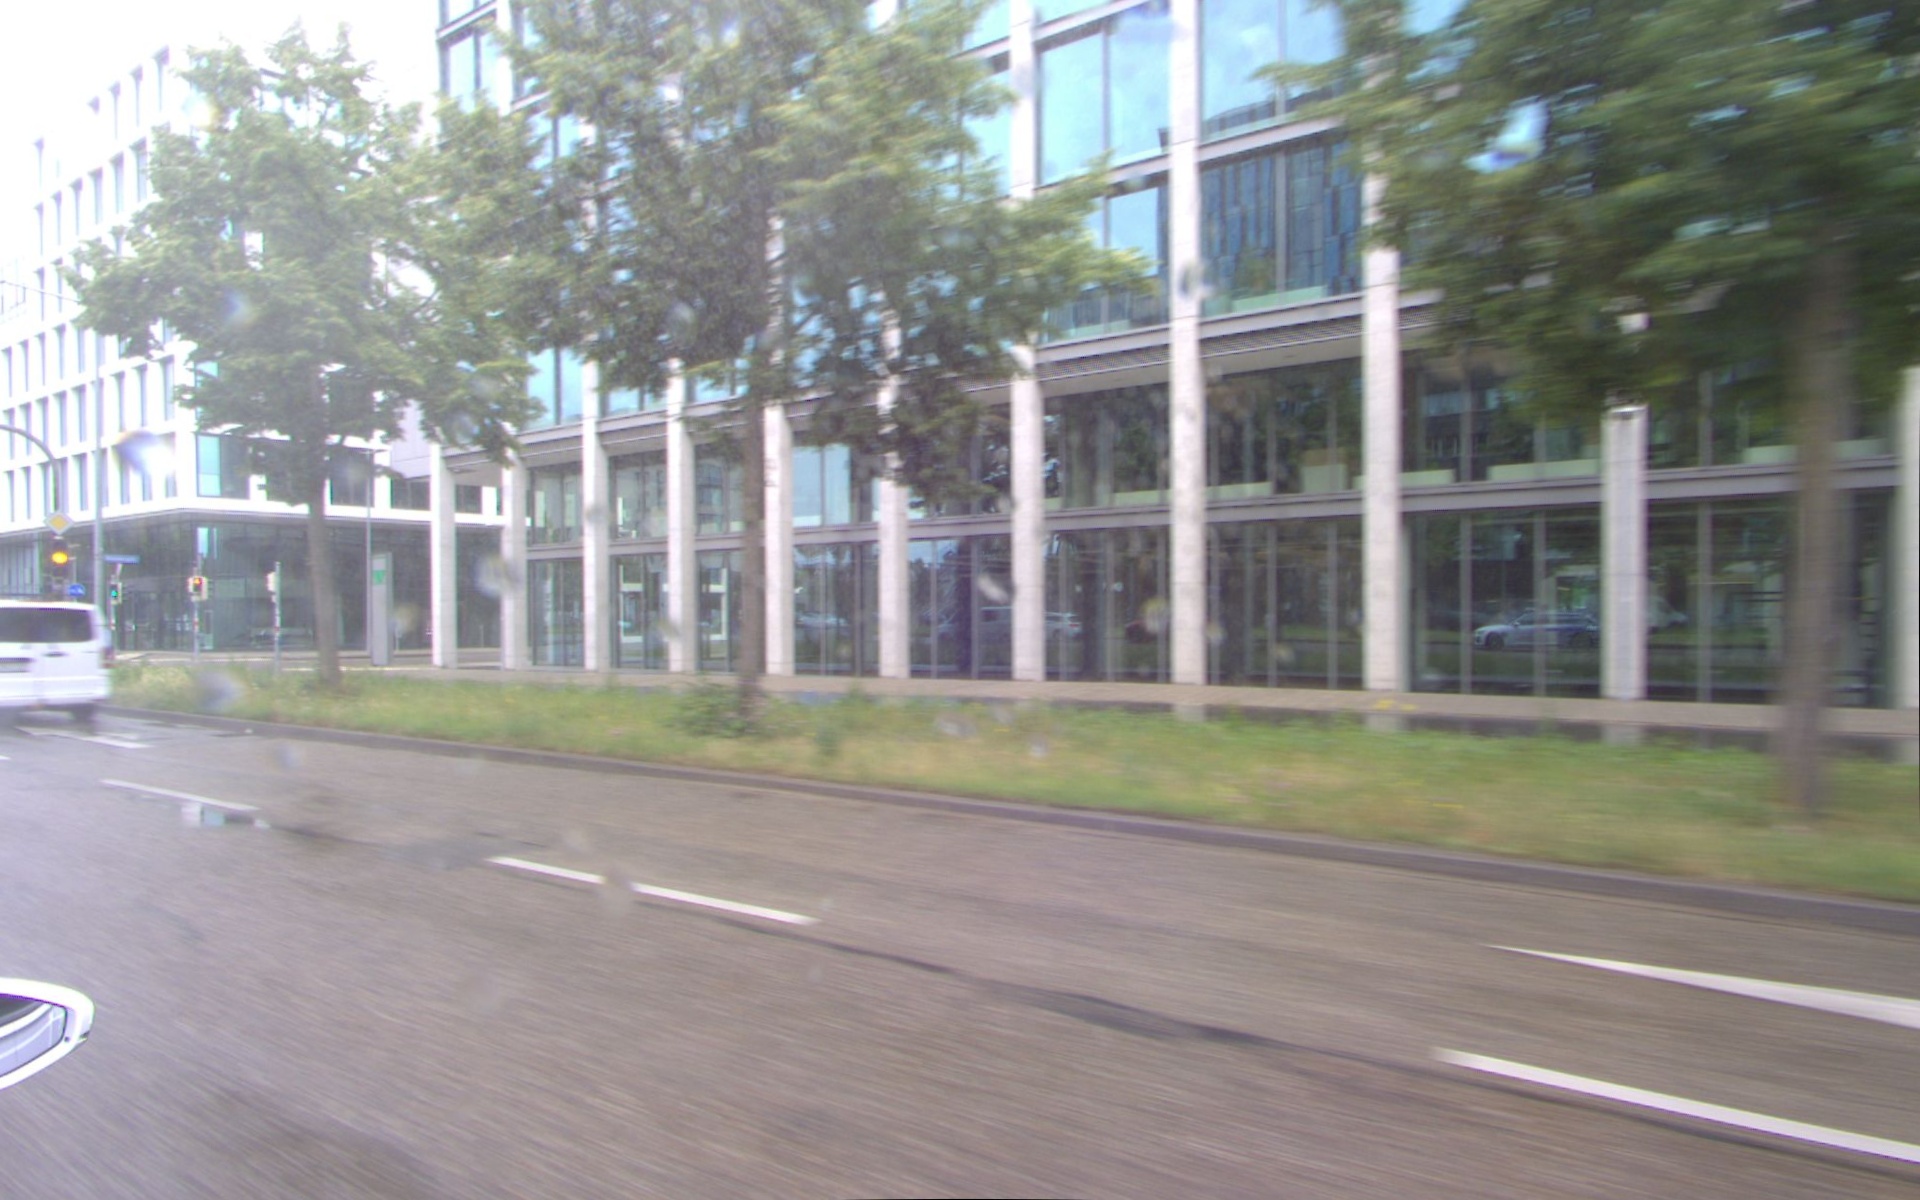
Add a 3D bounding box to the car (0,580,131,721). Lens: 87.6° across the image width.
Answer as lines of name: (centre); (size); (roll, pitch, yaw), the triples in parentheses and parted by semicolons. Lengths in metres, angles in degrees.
car: (-15.563, 0.777, 16.049); (5.017, 2.005, 1.965); (-1, -2, 31)
